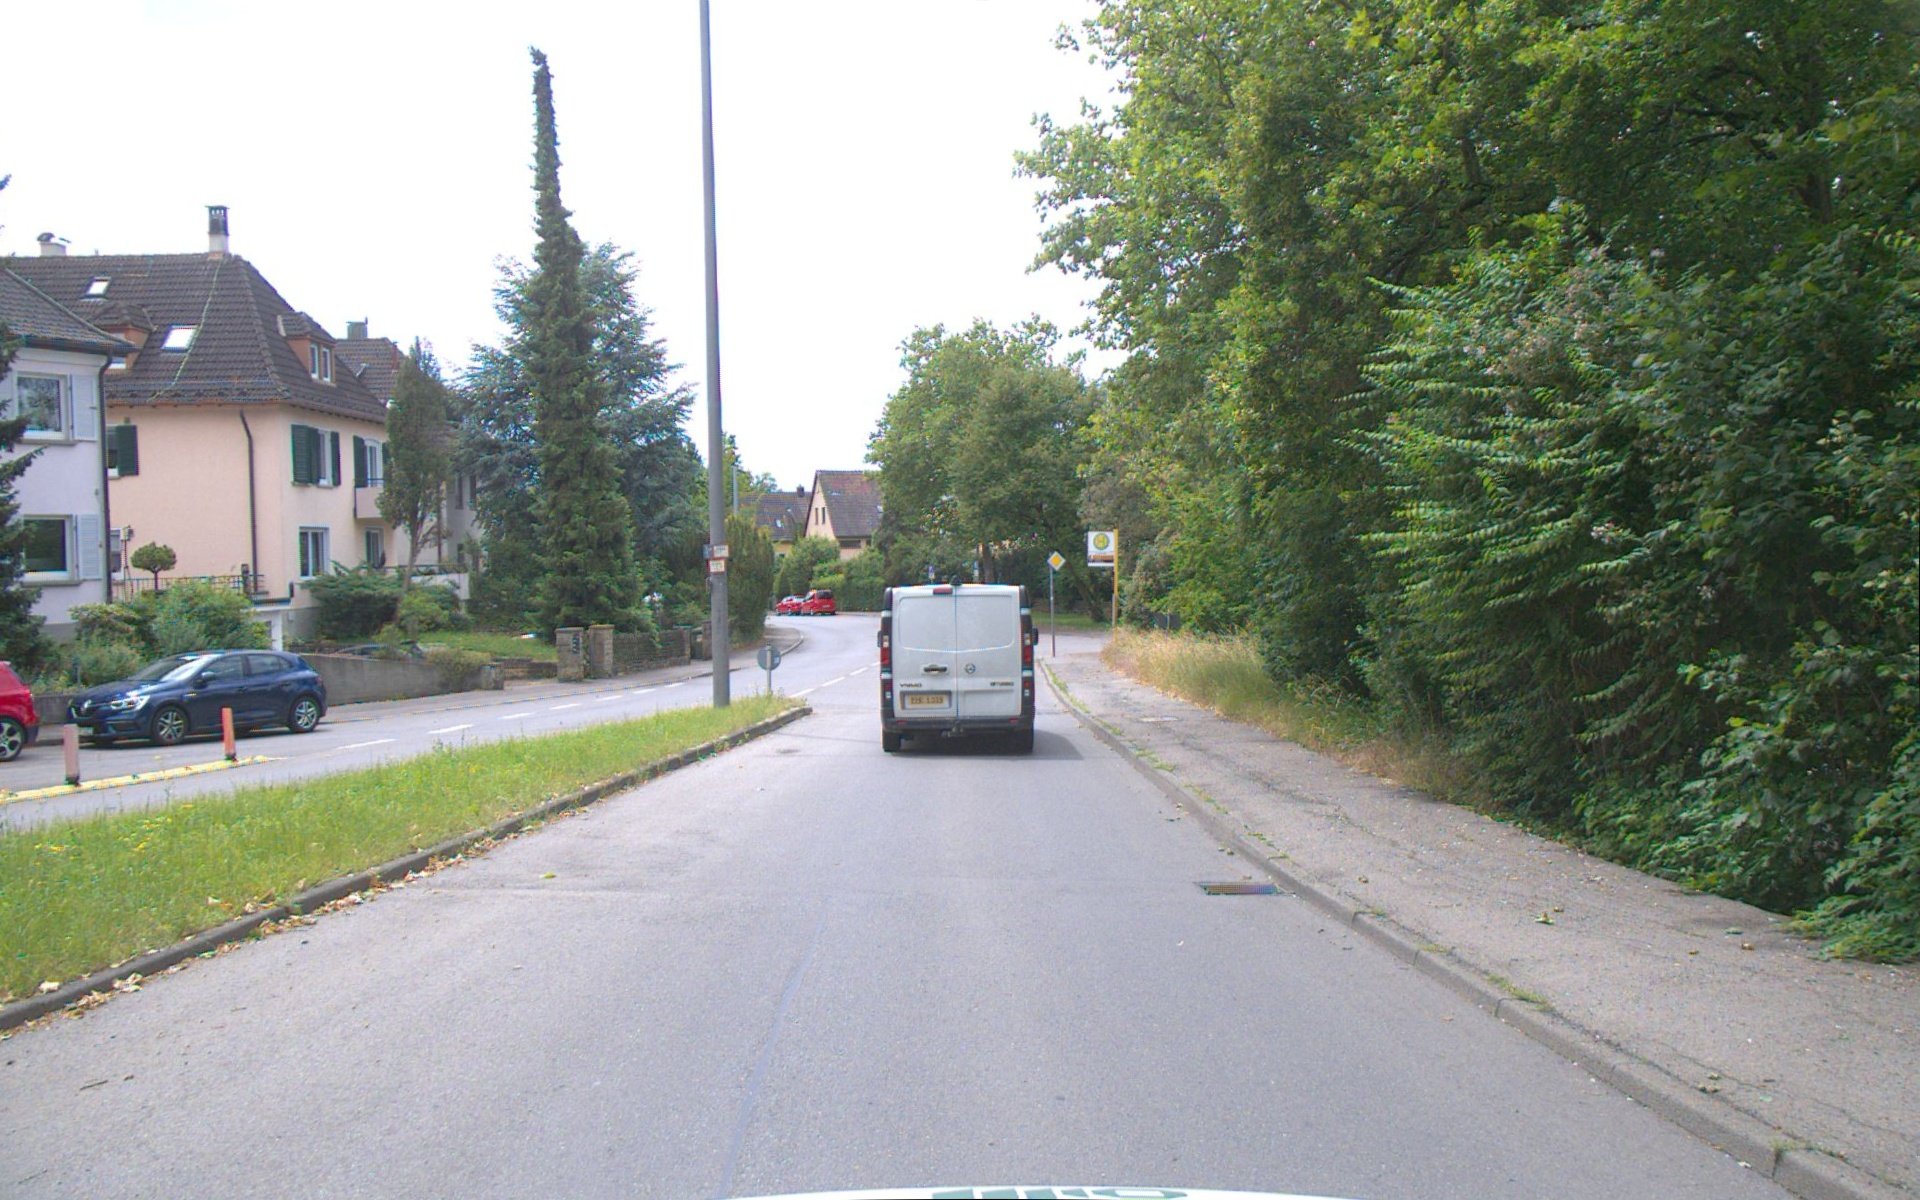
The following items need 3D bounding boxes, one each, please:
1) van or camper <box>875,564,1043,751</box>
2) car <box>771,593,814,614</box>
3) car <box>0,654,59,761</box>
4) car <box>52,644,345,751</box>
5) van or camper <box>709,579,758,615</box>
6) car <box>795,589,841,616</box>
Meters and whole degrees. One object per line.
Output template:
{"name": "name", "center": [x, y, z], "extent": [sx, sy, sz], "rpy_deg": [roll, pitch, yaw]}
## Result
{"name": "van or camper", "center": [0.059, 0.601, 21.144], "extent": [1.884, 2.048, 4.831], "rpy_deg": [0, 2, 2]}
{"name": "car", "center": [-12.327, 0.241, 121.537], "extent": [1.692, 1.493, 4.231], "rpy_deg": [-2, 1, -27]}
{"name": "car", "center": [-15.171, 1.576, 23.113], "extent": [1.695, 1.499, 4.269], "rpy_deg": [-1, 0, 31]}
{"name": "car", "center": [-12.514, 1.551, 27.480], "extent": [1.693, 1.499, 4.310], "rpy_deg": [-1, 0, 26]}
{"name": "van or camper", "center": [-18.364, -0.258, 133.998], "extent": [2.042, 2.721, 6.275], "rpy_deg": [-2, 1, -26]}
{"name": "car", "center": [-10.036, 0.156, 116.689], "extent": [1.737, 1.828, 4.914], "rpy_deg": [-2, 1, -23]}
